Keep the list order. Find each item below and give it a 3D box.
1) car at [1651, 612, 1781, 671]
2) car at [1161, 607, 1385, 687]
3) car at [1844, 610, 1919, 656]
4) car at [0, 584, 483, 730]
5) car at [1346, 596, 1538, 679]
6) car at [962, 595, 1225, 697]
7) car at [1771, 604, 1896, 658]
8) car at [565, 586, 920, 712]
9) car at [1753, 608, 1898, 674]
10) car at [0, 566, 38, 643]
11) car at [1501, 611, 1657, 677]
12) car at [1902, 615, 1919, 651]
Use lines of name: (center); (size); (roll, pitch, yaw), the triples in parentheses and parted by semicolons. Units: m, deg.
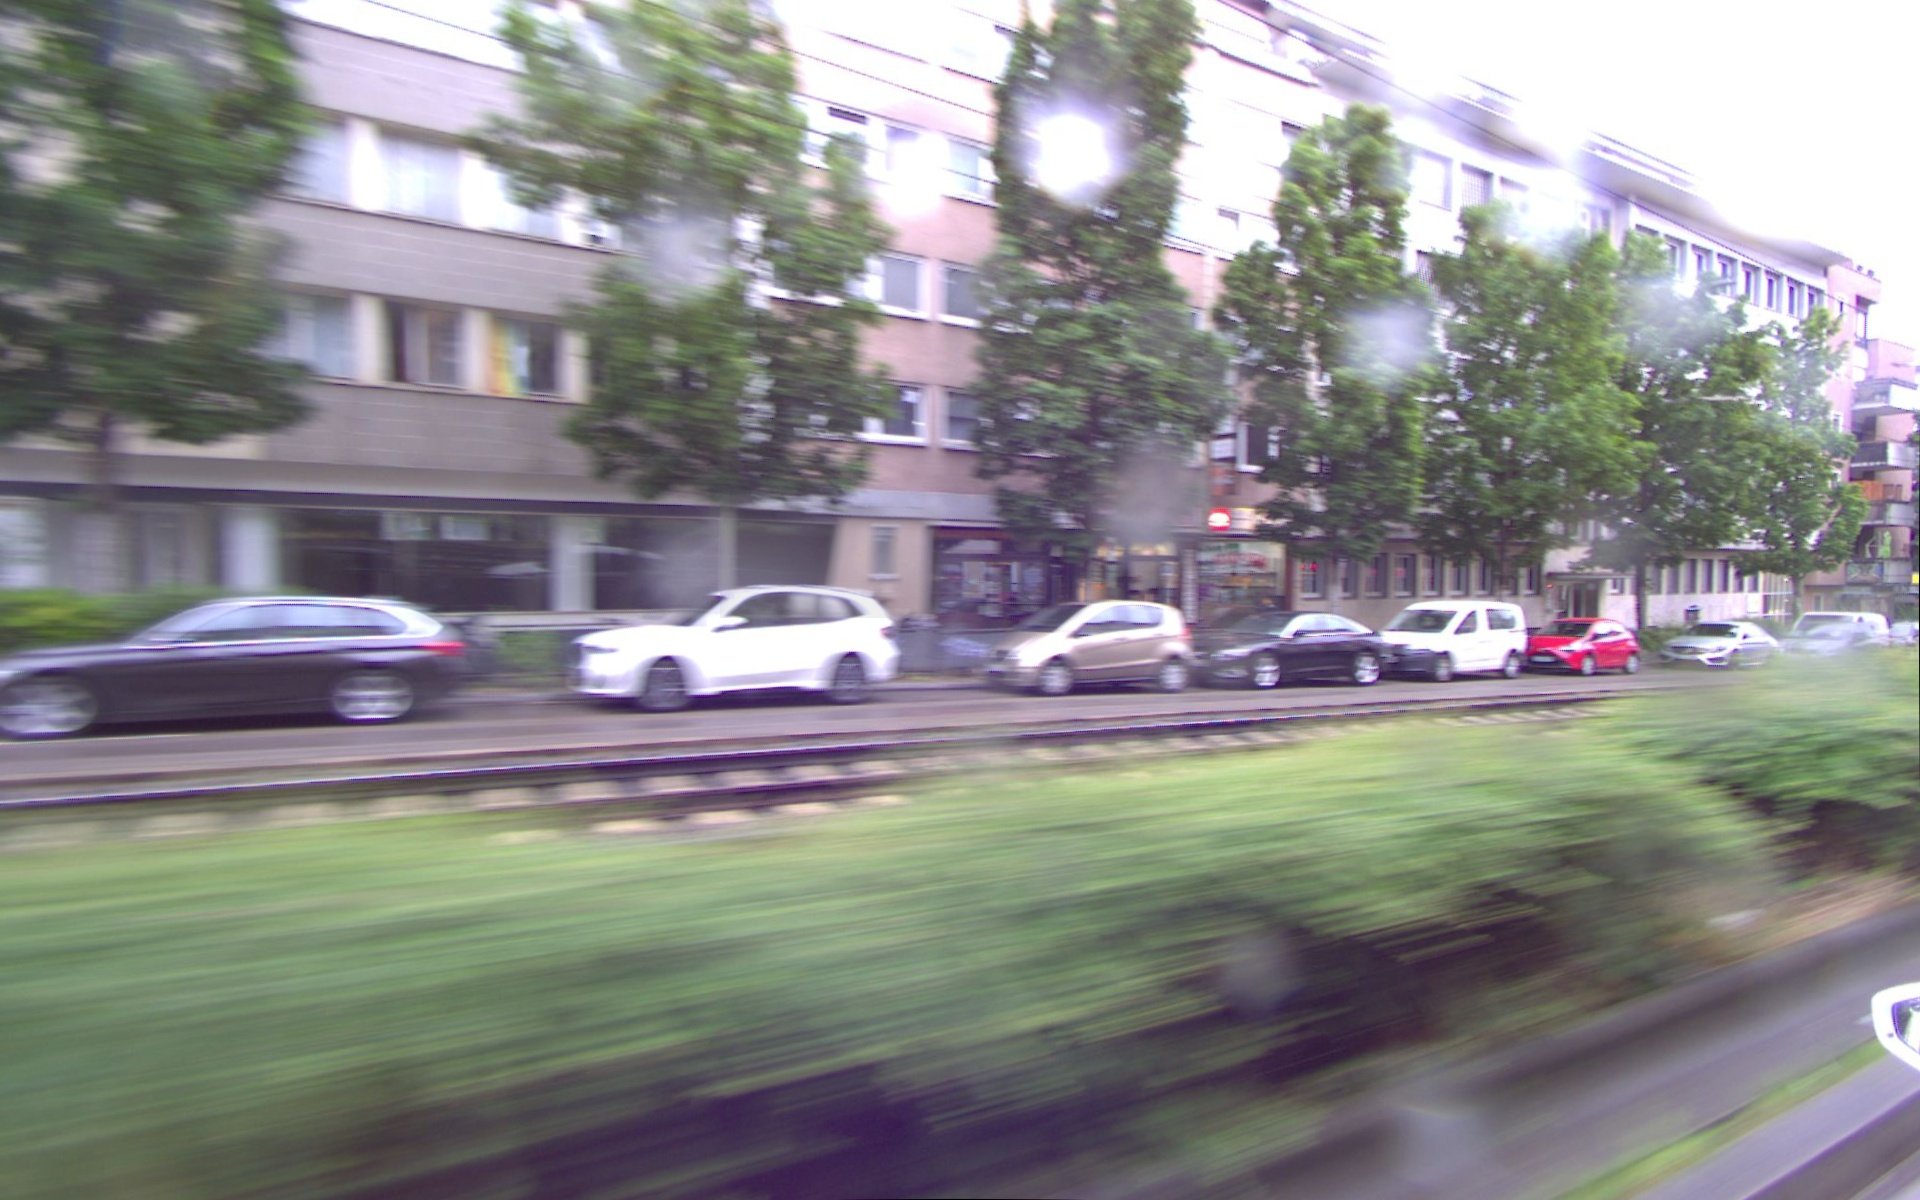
car: (22.652, 1.254, 30.070); (4.000, 1.579, 1.659); (3, 0, -31)
car: (6.291, 0.951, 20.060); (4.380, 1.436, 1.846); (3, -2, -31)
car: (35.726, 1.286, 38.415); (4.000, 1.594, 1.686); (3, 0, -31)
car: (-8.034, 0.634, 11.299); (4.667, 1.395, 1.685); (3, -2, -31)
car: (11.195, 0.889, 23.273); (4.380, 1.723, 1.846); (3, 0, -31)
car: (2.405, 0.792, 17.779); (4.380, 1.569, 1.846); (2, 1, -31)
car: (30.817, 1.108, 35.416); (4.879, 1.658, 1.846); (3, 0, -31)
car: (-3.057, 0.700, 14.465); (4.666, 1.569, 1.846); (2, -3, -31)
car: (24.140, 1.147, 27.992); (4.000, 1.658, 1.846); (3, 0, -31)
car: (-18.969, 0.050, 18.684); (1.841, 1.437, 4.393); (2, 0, -32)
car: (16.425, 1.176, 26.636); (4.000, 1.547, 1.846); (3, 0, -31)
car: (40.635, 1.442, 41.390); (4.000, 1.413, 1.542); (3, 0, -31)
